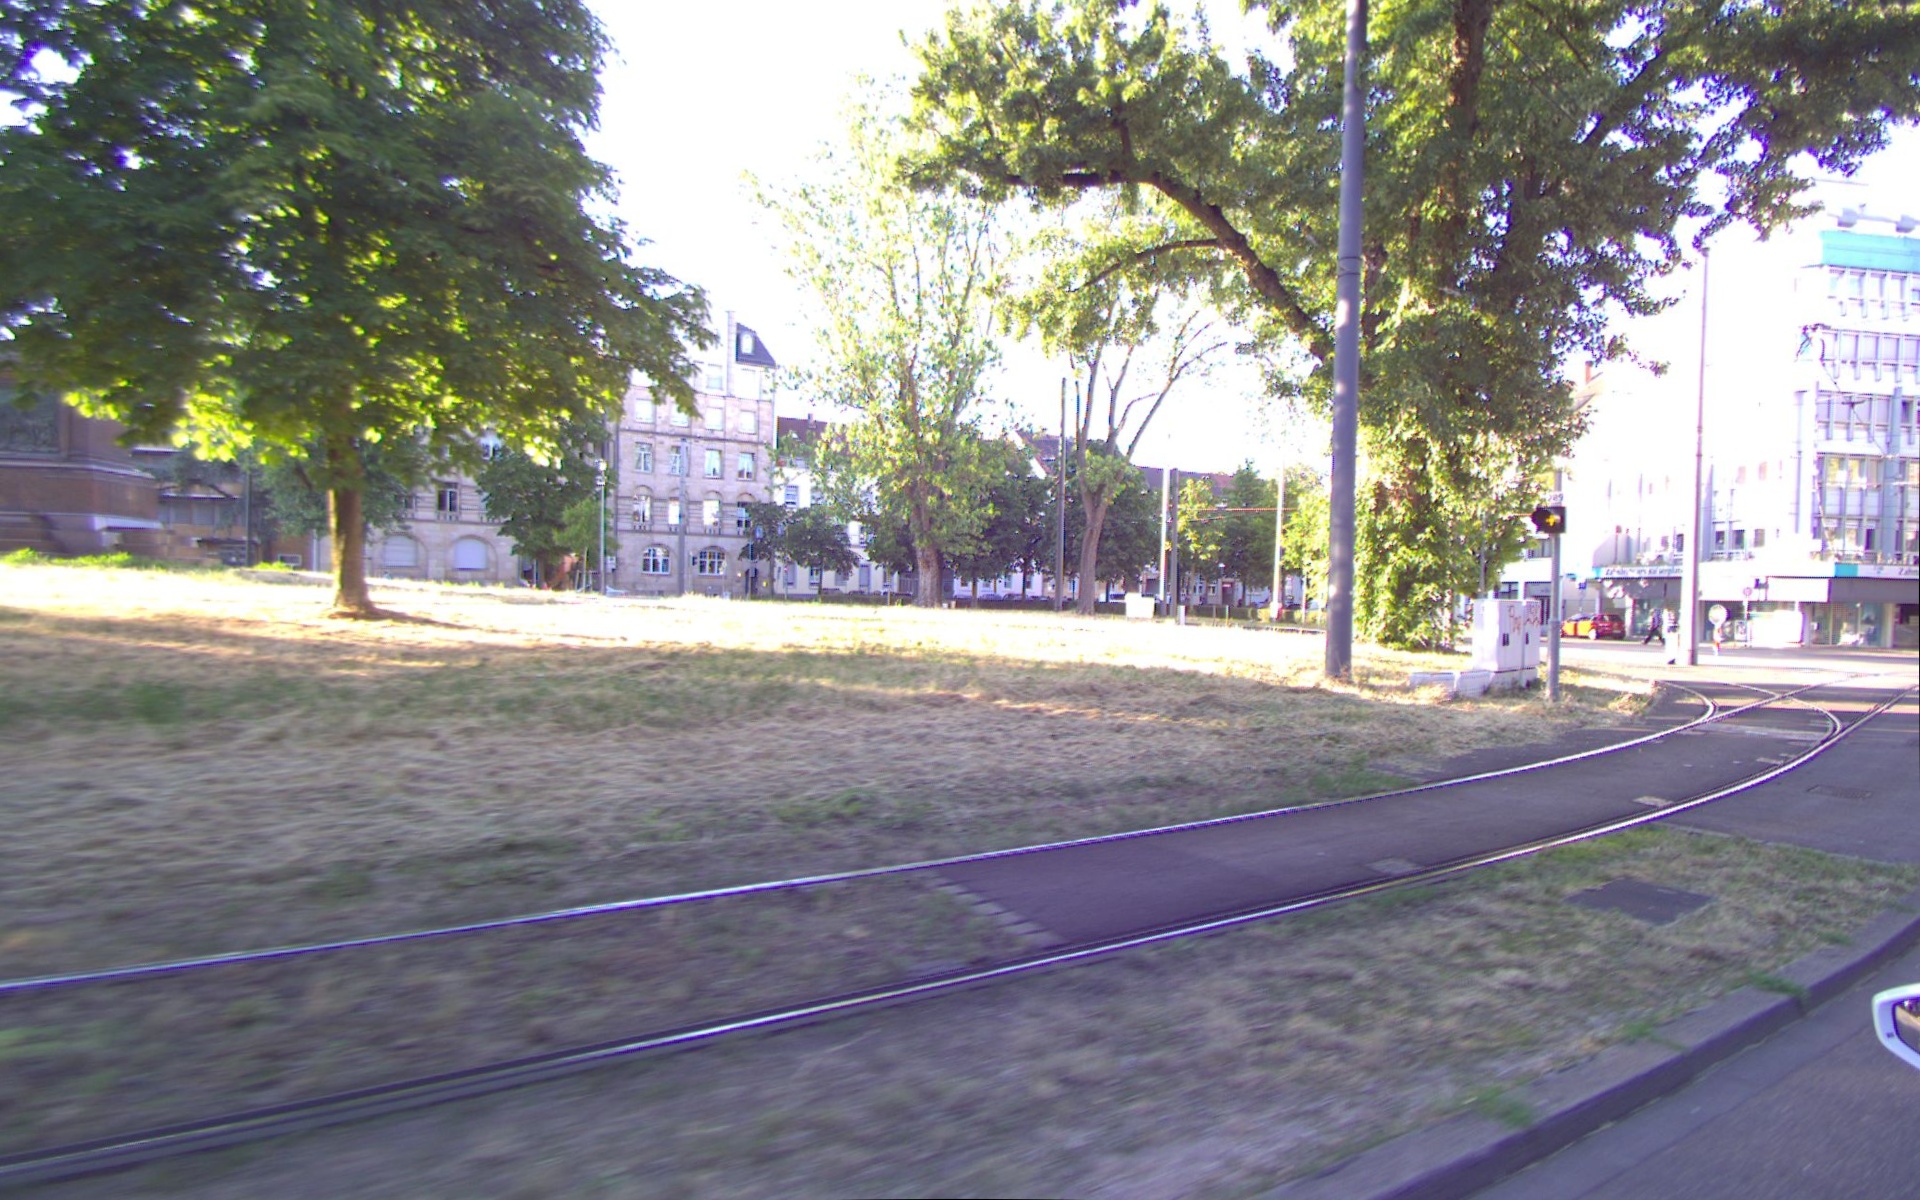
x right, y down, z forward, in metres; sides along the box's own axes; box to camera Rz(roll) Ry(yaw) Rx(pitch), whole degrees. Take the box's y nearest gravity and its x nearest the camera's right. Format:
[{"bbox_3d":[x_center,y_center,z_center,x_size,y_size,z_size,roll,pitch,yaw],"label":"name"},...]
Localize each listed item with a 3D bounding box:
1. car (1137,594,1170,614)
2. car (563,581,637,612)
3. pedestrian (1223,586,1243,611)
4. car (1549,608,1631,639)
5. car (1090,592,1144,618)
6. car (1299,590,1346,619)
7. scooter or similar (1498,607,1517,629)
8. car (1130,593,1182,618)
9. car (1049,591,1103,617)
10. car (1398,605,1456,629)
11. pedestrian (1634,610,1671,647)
[{"bbox_3d":[20.520,0.397,106.514,1.965,2.040,3.990,2,1,-12],"label":"car"},{"bbox_3d":[-22.852,-0.223,63.810,3.919,1.818,2.001,2,1,7],"label":"car"},{"bbox_3d":[23.028,-0.116,84.772,1.098,2.040,1.464,2,1,-6],"label":"pedestrian"},{"bbox_3d":[35.086,1.263,56.070,1.987,1.505,3.999,2,1,-1],"label":"car"},{"bbox_3d":[13.123,0.442,83.974,3.948,2.041,1.986,2,1,-27],"label":"car"},{"bbox_3d":[27.712,0.307,76.952,1.961,2.040,3.998,2,1,-2],"label":"car"},{"bbox_3d":[37.485,1.198,68.824,0.740,1.417,1.928,2,1,17],"label":"scooter or similar"},{"bbox_3d":[16.729,0.478,85.889,3.948,2.041,1.986,2,1,-27],"label":"car"},{"bbox_3d":[9.467,0.321,82.000,3.948,2.041,1.986,2,1,-27],"label":"car"},{"bbox_3d":[33.041,1.167,71.221,1.962,1.550,3.997,2,1,-4],"label":"car"},{"bbox_3d":[33.134,1.340,48.069,1.139,1.725,0.908,2,0,10],"label":"pedestrian"}]
